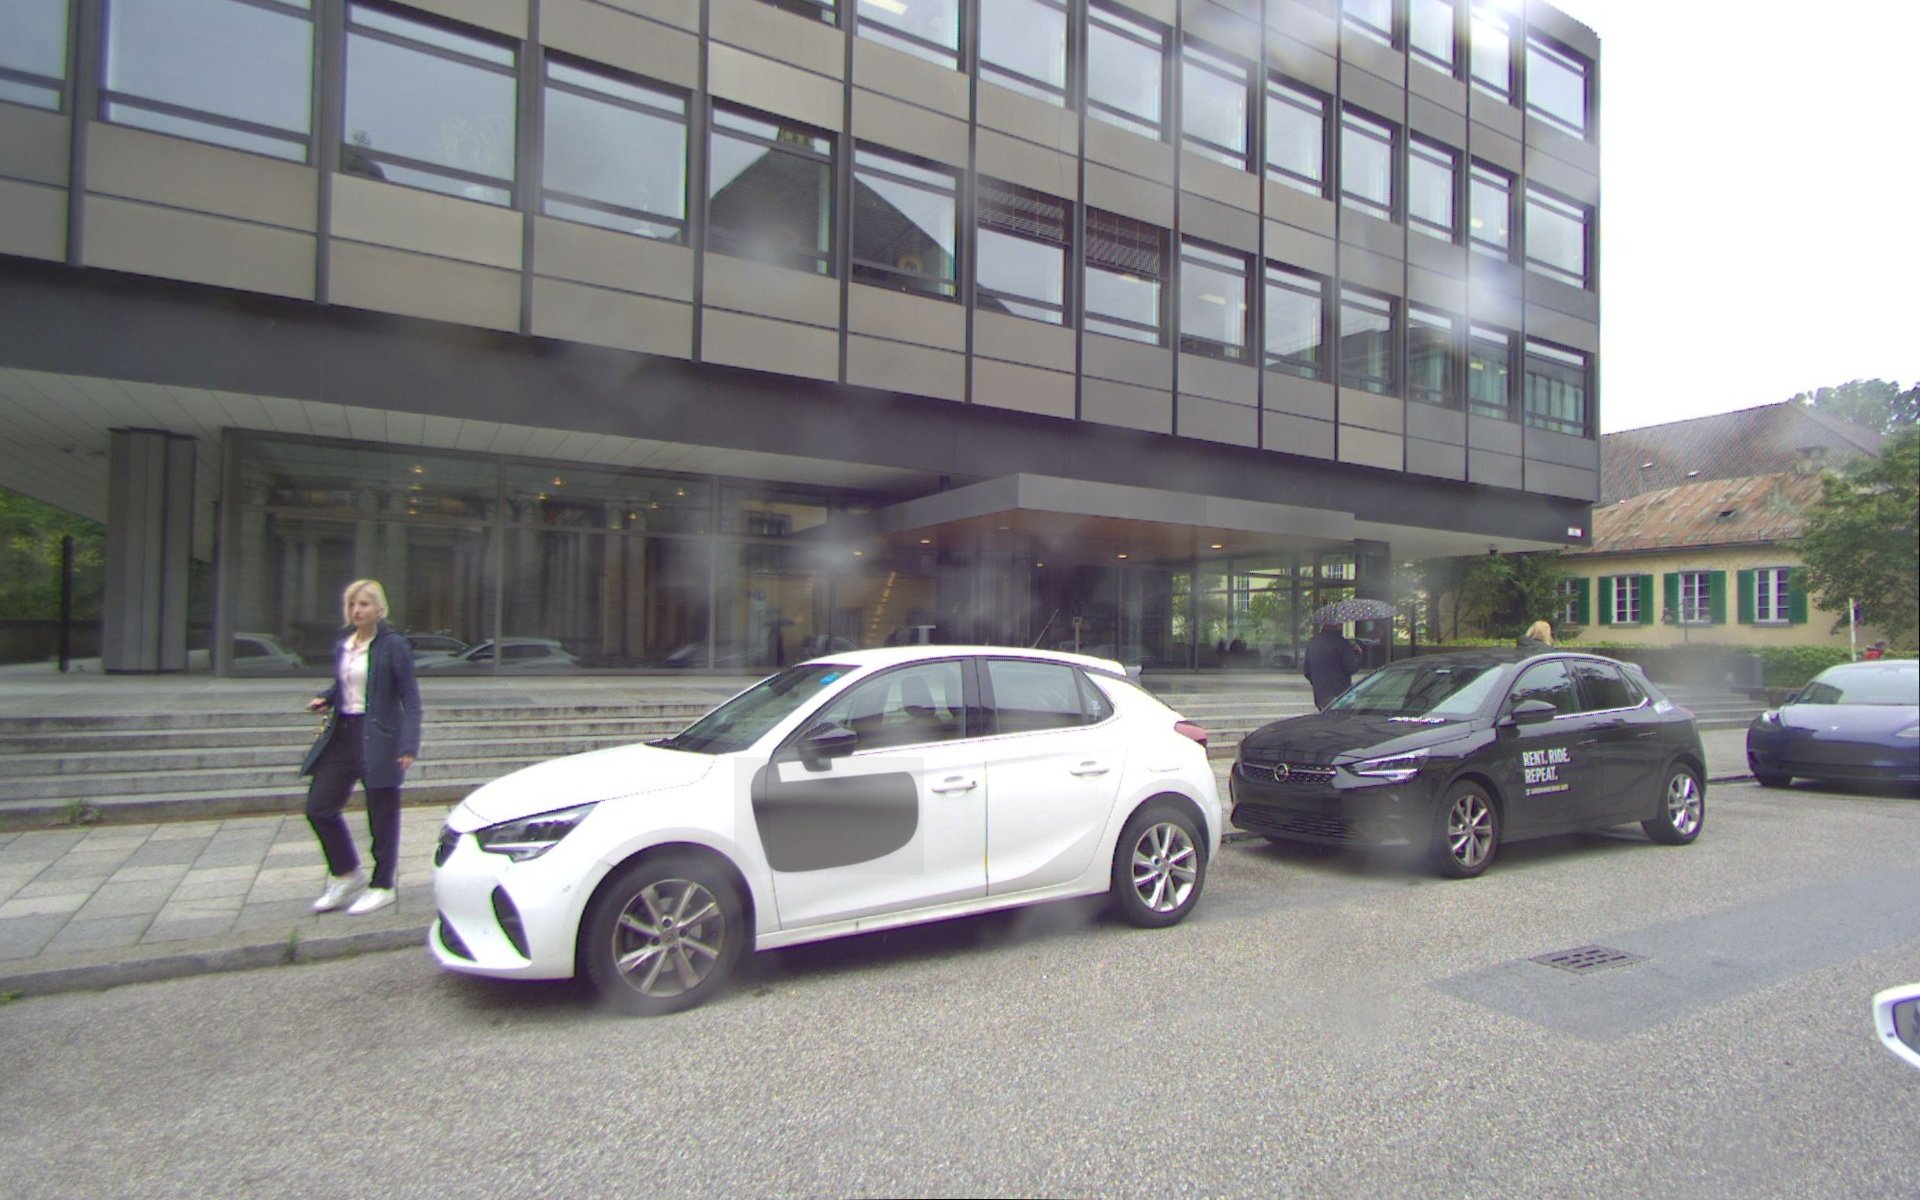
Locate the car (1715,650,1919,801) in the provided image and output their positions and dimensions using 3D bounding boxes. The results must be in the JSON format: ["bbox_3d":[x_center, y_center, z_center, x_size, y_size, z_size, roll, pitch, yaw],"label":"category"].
[{"bbox_3d":[10.994,1.360,11.643,4.863,1.458,1.913,3,-5,-32],"label":"car"}]

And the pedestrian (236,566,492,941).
[{"bbox_3d":[-3.095,0.746,5.302,0.676,1.775,0.894,1,-2,11],"label":"pedestrian"}]

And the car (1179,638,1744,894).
[{"bbox_3d":[3.857,1.082,7.616,4.184,1.480,1.733,2,-5,-29],"label":"car"}]

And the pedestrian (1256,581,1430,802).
[{"bbox_3d":[3.895,0.881,10.251,1.207,2.082,1.129,2,-1,-30],"label":"pedestrian"}]

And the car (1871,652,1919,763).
[{"bbox_3d":[15.405,1.517,14.406,4.824,1.510,1.986,2,-4,-29],"label":"car"}]

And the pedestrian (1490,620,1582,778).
[{"bbox_3d":[6.848,1.138,11.936,0.745,1.772,0.947,-1,-2,44],"label":"pedestrian"}]

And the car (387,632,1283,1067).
[{"bbox_3d":[-0.488,0.970,5.195,4.228,1.458,1.675,2,-5,-29],"label":"car"}]

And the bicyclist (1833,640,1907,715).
[{"bbox_3d":[19.272,1.636,21.295,1.077,1.517,0.671,0,-3,37],"label":"bicyclist"}]
